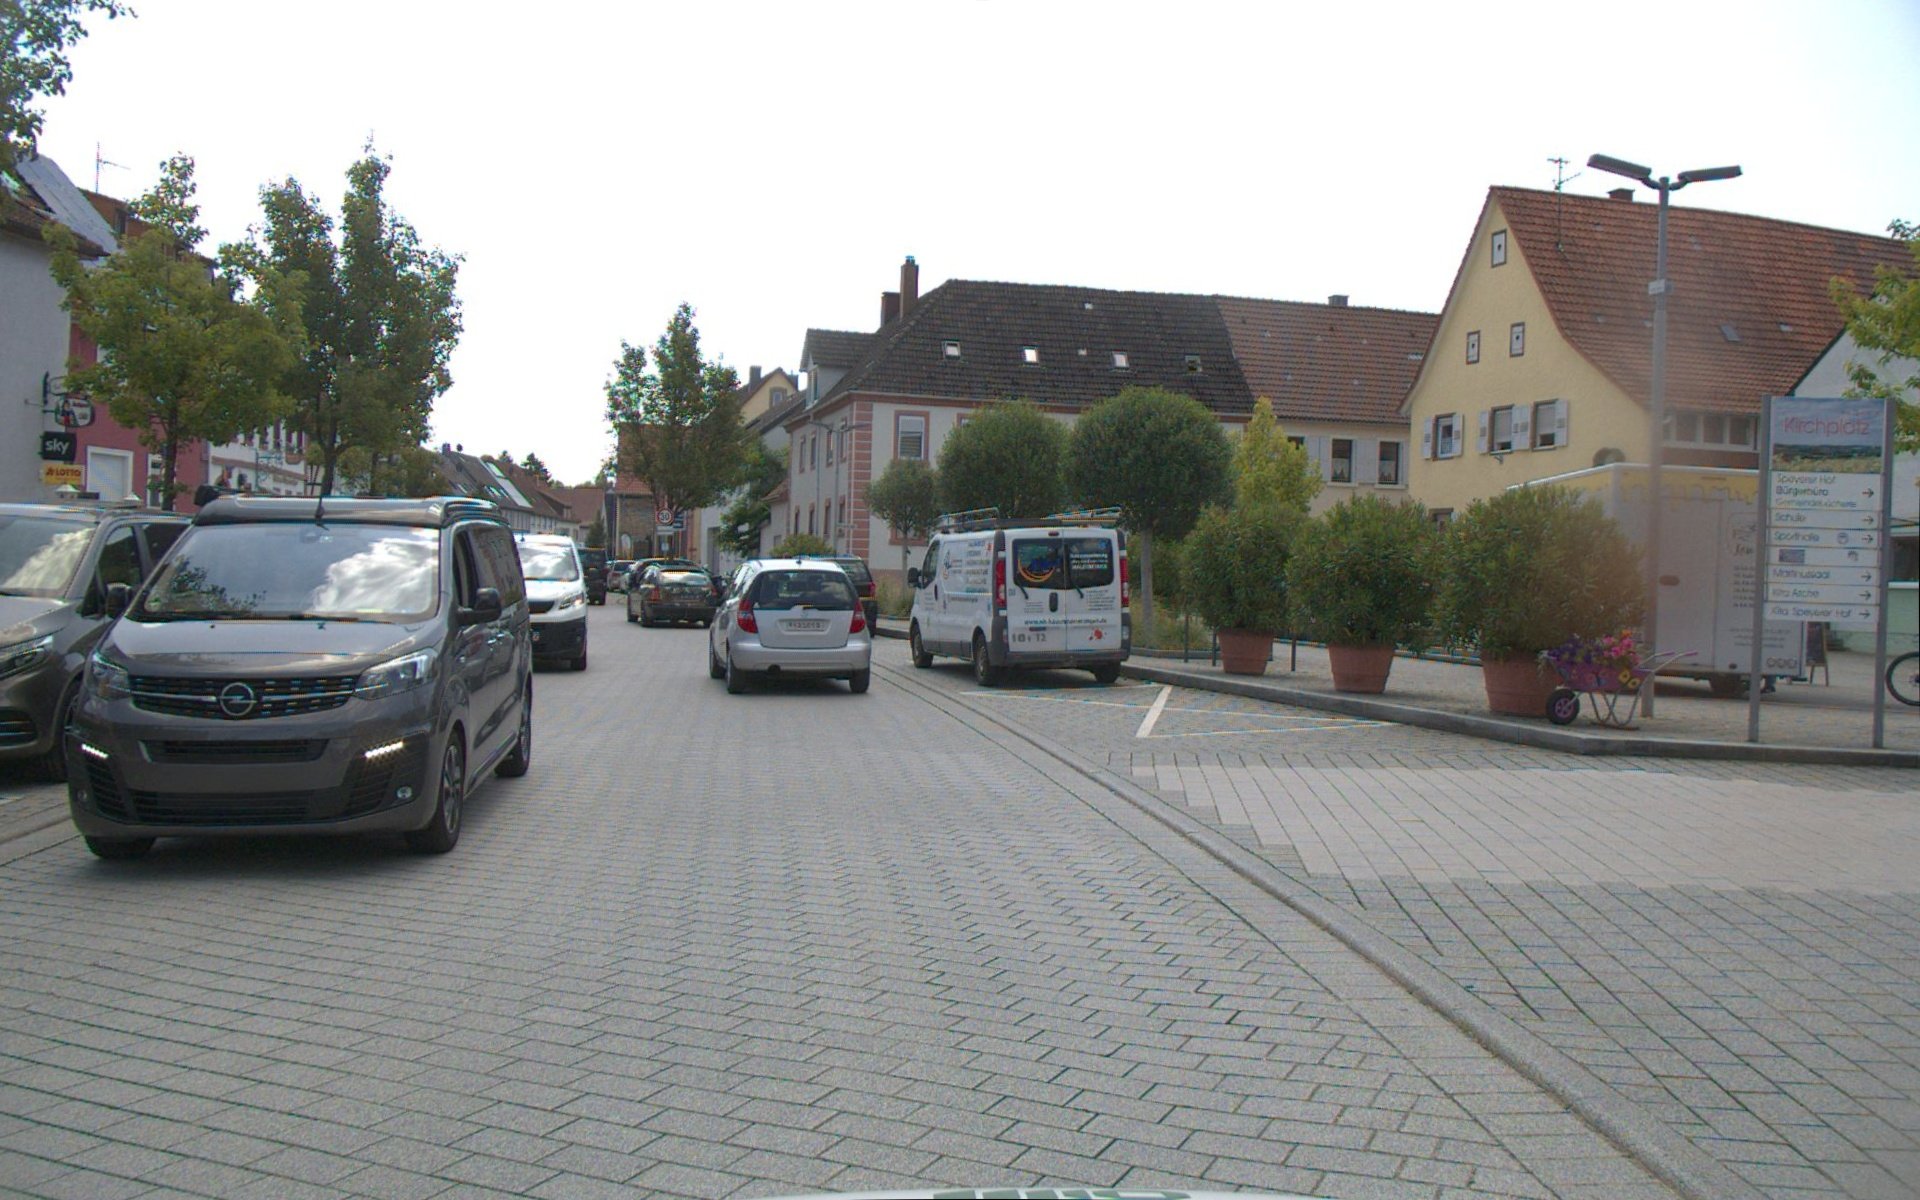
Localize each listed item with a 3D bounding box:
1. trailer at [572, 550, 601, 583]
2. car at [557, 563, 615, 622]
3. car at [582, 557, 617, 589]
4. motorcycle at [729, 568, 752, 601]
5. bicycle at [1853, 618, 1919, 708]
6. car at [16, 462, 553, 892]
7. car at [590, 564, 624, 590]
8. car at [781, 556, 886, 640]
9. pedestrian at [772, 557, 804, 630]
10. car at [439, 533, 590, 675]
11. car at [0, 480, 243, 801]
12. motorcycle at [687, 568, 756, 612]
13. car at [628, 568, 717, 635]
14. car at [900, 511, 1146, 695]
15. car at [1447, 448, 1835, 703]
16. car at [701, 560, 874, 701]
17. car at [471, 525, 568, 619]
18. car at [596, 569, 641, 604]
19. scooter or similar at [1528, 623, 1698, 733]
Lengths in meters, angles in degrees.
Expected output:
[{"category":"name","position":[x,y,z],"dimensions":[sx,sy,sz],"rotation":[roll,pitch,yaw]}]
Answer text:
[{"category":"trailer","position":[-27.430,-2.476,121.310],"dimensions":[1.815,2.395,3.573],"rotation":[0,1,-17]},{"category":"car","position":[-13.407,-0.292,59.108],"dimensions":[1.740,1.920,4.429],"rotation":[4,0,-15]},{"category":"car","position":[-23.419,-1.784,107.294],"dimensions":[1.861,2.016,4.910],"rotation":[-1,2,-16]},{"category":"motorcycle","position":[-7.718,-0.553,58.221],"dimensions":[0.516,1.143,1.060],"rotation":[1,1,-23]},{"category":"bicycle","position":[12.322,0.815,20.699],"dimensions":[0.742,1.087,2.103],"rotation":[1,1,-16]},{"category":"car","position":[-3.825,0.317,10.347],"dimensions":[1.956,2.048,4.732],"rotation":[1,1,-8]},{"category":"car","position":[-21.273,-1.390,99.561],"dimensions":[1.746,1.521,4.144],"rotation":[1,1,-16]},{"category":"car","position":[-2.669,-0.079,34.145],"dimensions":[1.736,1.592,4.408],"rotation":[1,1,-10]},{"category":"pedestrian","position":[-3.966,-0.147,38.042],"dimensions":[0.628,1.657,0.618],"rotation":[1,1,-14]},{"category":"car","position":[-6.639,0.002,25.063],"dimensions":[1.959,1.912,4.851],"rotation":[1,1,-13]},{"category":"car","position":[-7.204,0.172,12.773],"dimensions":[1.951,2.025,5.032],"rotation":[1,1,-11]},{"category":"motorcycle","position":[-8.058,-0.346,55.868],"dimensions":[2.175,1.419,0.872],"rotation":[2,1,27]},{"category":"car","position":[-6.743,-0.004,38.819],"dimensions":[1.910,1.432,3.991],"rotation":[1,1,-10]},{"category":"car","position":[0.701,-0.043,22.619],"dimensions":[1.911,2.215,5.080],"rotation":[-1,2,-16]},{"category":"car","position":[9.425,-0.334,23.900],"dimensions":[2.696,3.014,7.115],"rotation":[2,0,1]},{"category":"car","position":[-2.322,0.310,21.360],"dimensions":[1.738,1.622,3.987],"rotation":[0,2,-13]},{"category":"car","position":[-10.348,-0.671,38.645],"dimensions":[1.962,2.048,4.717],"rotation":[0,1,-18]},{"category":"car","position":[-17.881,-0.728,86.508],"dimensions":[1.961,1.710,4.305],"rotation":[1,1,-16]},{"category":"scooter or similar","position":[5.695,0.674,14.474],"dimensions":[1.119,0.896,0.814],"rotation":[1,1,-7]}]
